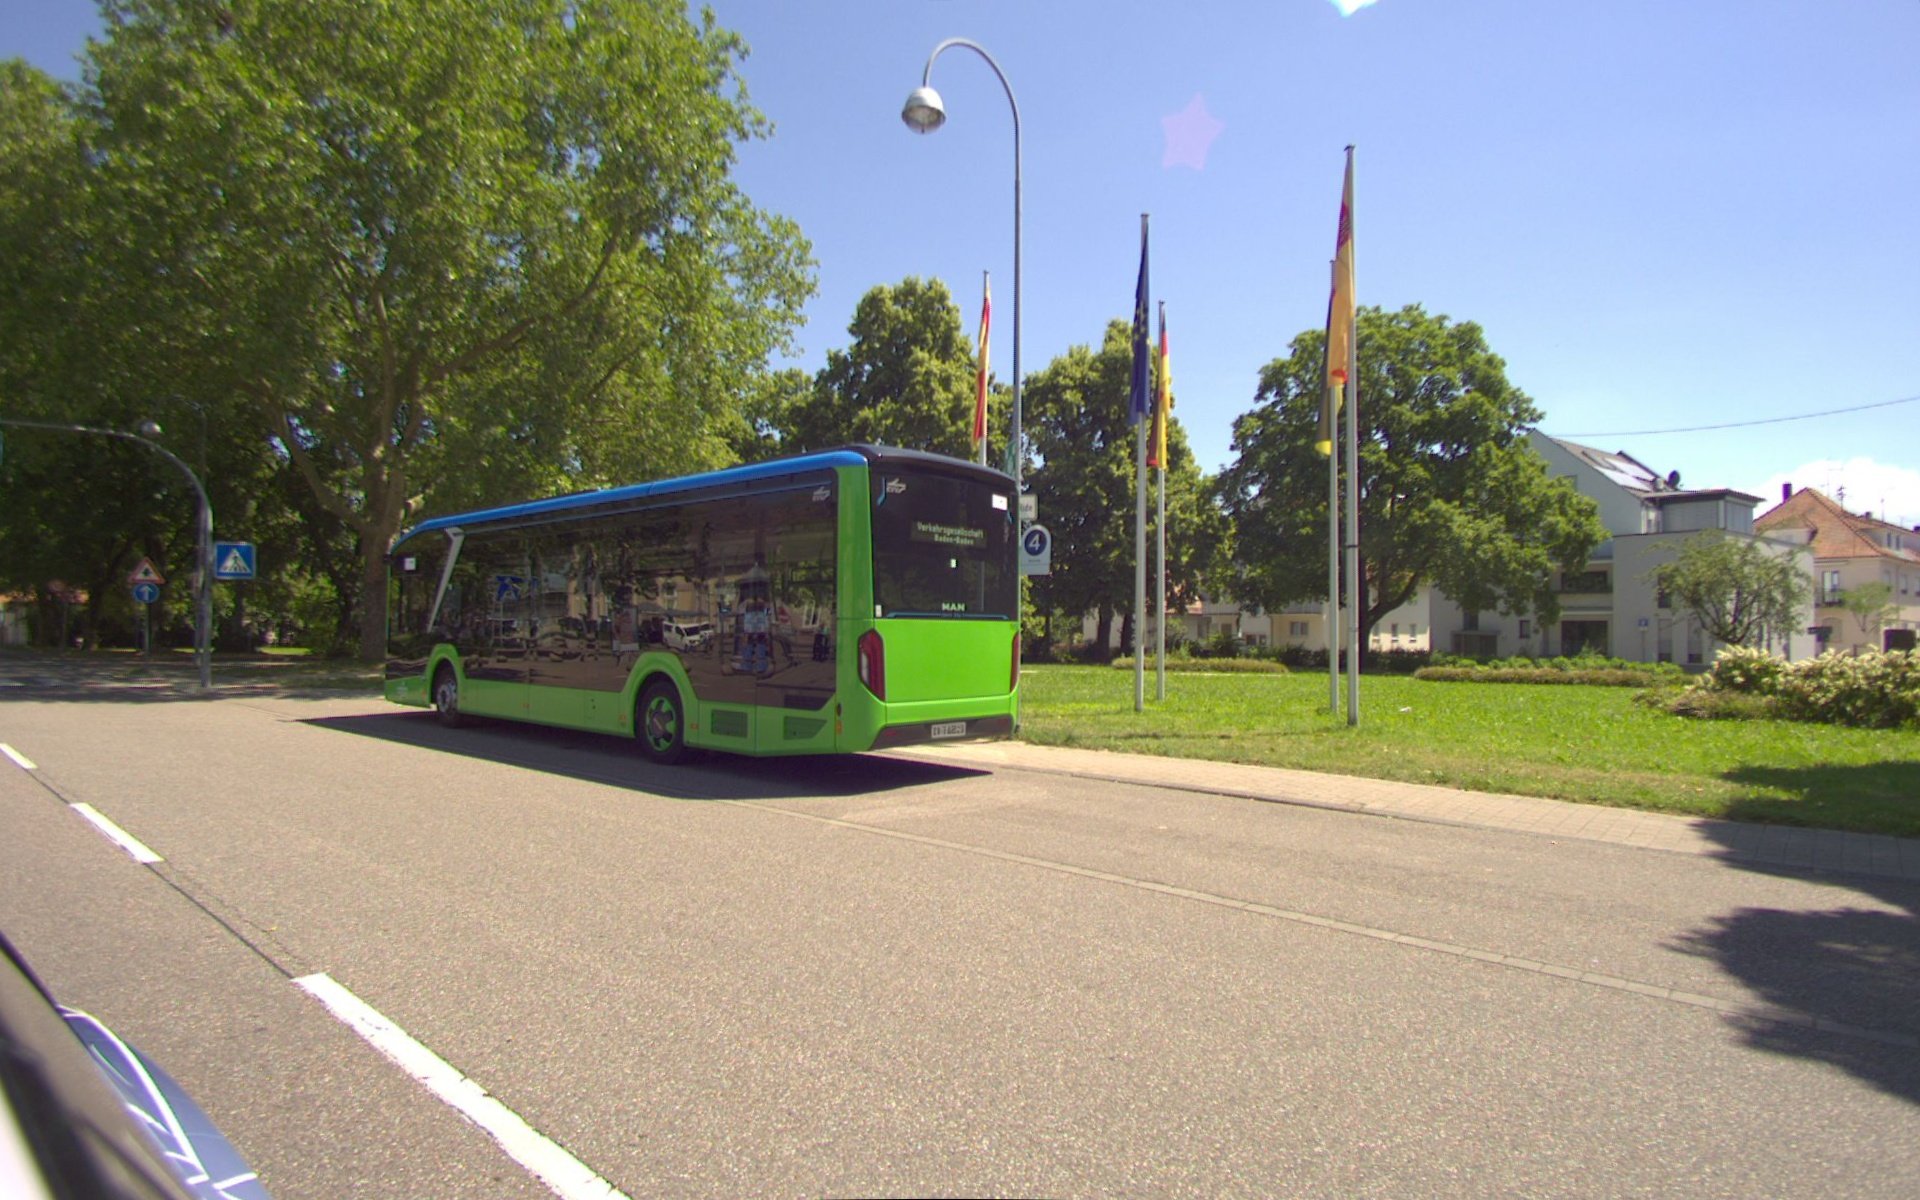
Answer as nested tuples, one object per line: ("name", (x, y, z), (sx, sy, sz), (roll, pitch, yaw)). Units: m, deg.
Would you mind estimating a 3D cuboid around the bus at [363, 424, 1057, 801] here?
("bus", (-4.504, 0.270, 14.049), (12.420, 3.308, 2.779), (-1, -3, 42))
